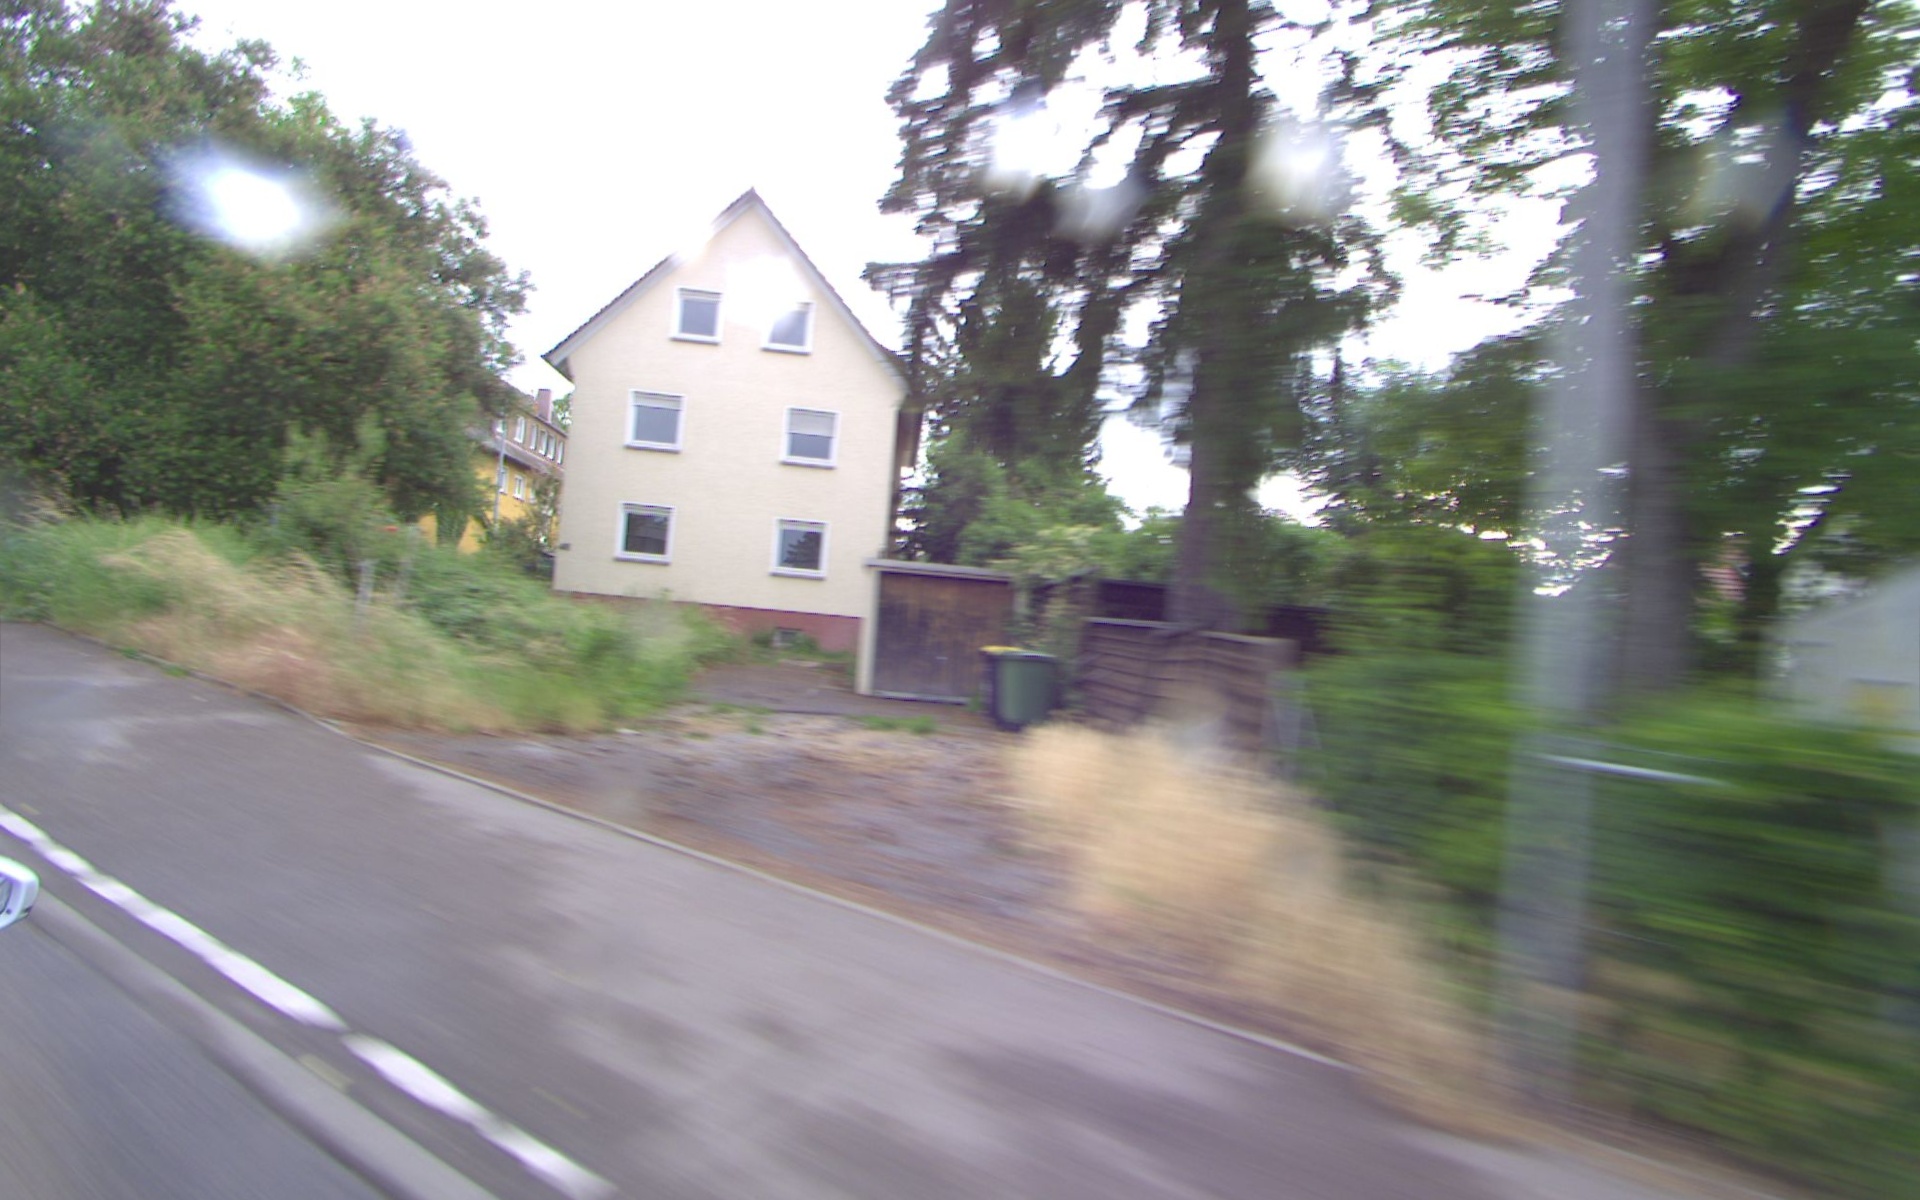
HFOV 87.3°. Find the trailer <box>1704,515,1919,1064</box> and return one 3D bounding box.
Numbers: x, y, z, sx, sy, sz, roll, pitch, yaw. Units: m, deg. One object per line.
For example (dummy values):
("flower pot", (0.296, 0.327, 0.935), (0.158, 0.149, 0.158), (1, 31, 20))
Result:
("trailer", (5.309, 0.912, 4.470), (1.913, 2.427, 4.552), (7, -2, 22))

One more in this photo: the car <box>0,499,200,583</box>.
("car", (-19.228, -1.259, 22.573), (1.662, 1.400, 3.154), (7, -1, 6))
